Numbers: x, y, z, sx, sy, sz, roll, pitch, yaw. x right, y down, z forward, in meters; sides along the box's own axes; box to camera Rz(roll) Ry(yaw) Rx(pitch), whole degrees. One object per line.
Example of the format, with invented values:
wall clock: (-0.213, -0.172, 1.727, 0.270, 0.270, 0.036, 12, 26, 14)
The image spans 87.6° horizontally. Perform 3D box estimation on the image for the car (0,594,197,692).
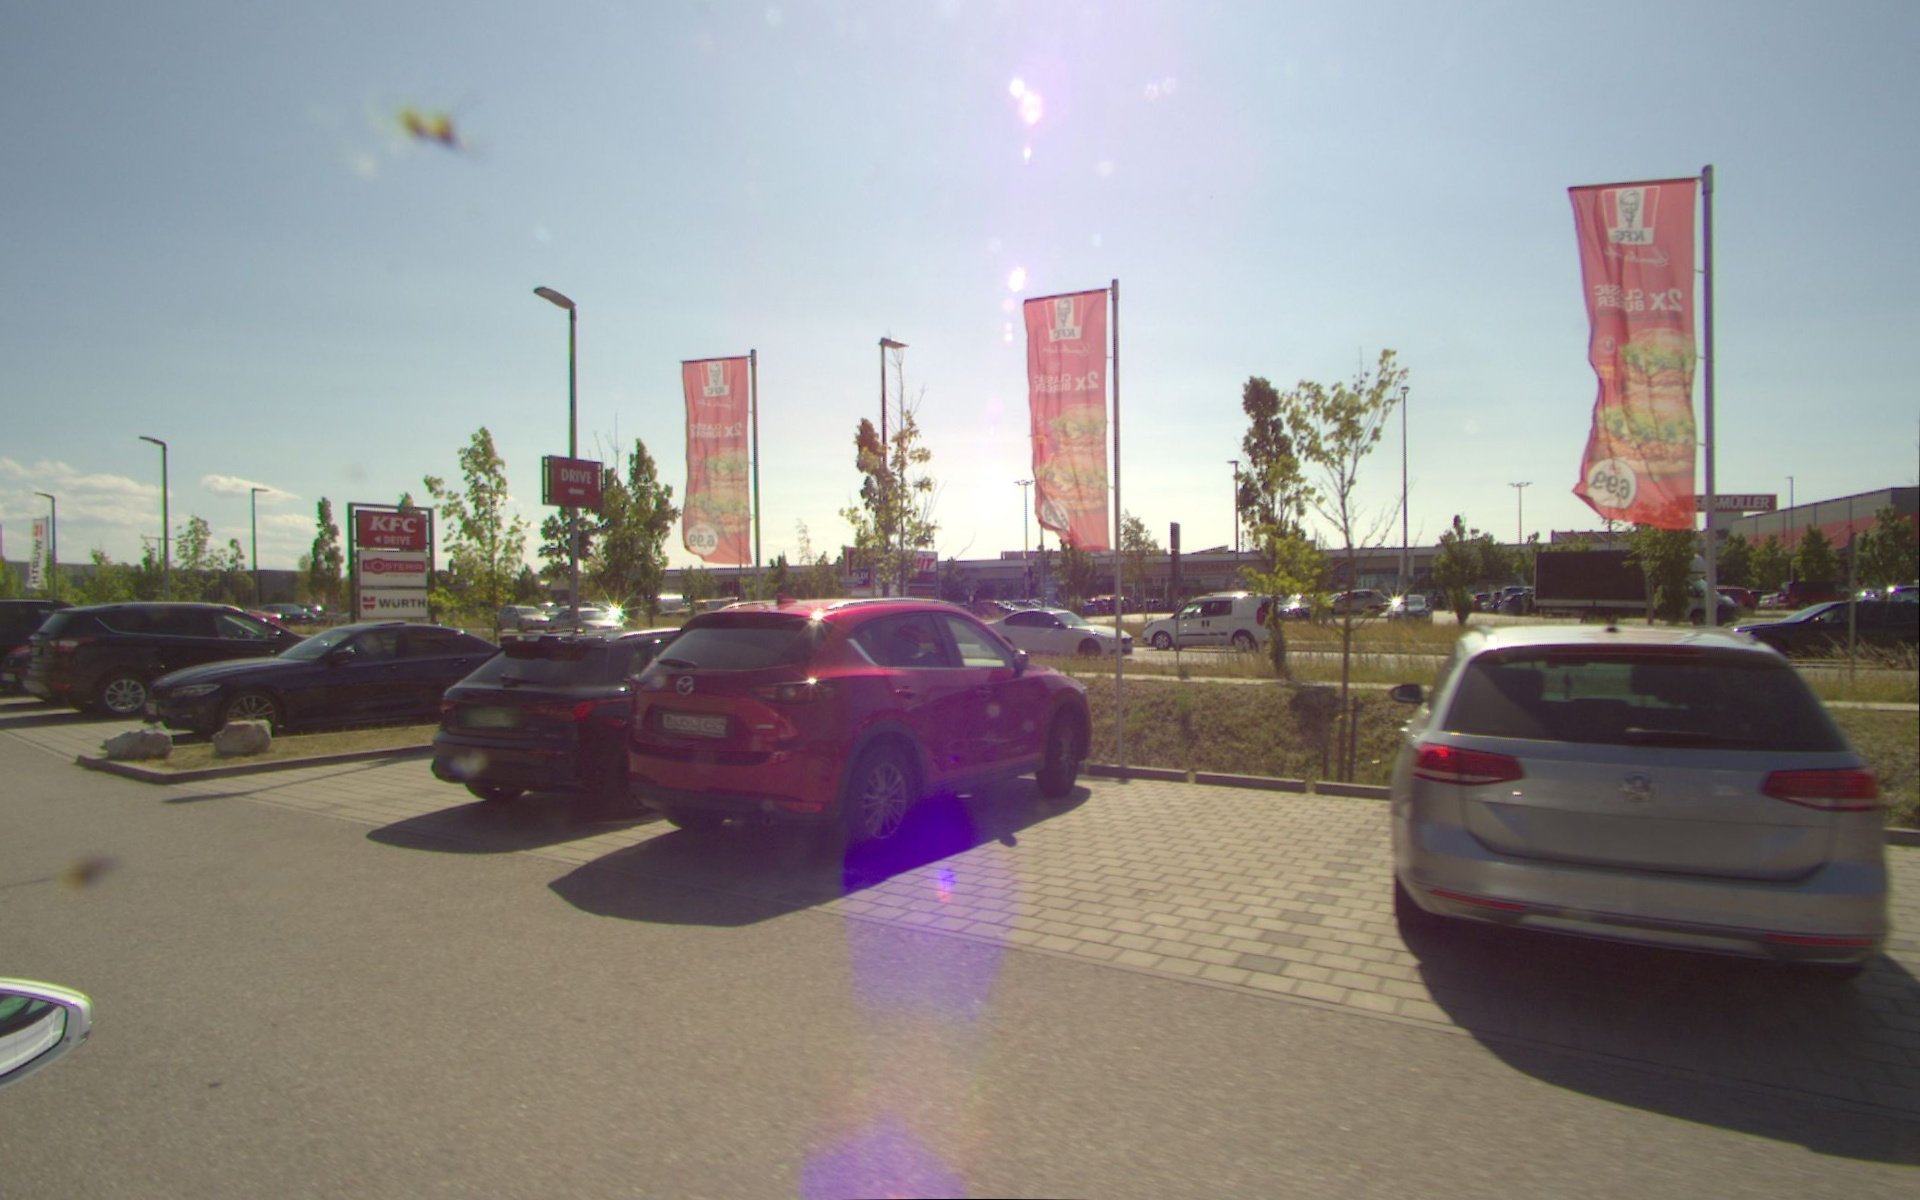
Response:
car: (-17.752, 0.804, 19.267, 1.870, 1.783, 4.563, 0, -1, 35)

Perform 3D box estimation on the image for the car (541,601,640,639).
car: (-16.184, 0.827, 43.769, 4.598, 1.547, 1.986, 0, 0, 38)

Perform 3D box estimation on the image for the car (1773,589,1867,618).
car: (57.797, 0.221, 67.358, 4.325, 1.880, 1.952, 0, 0, 18)

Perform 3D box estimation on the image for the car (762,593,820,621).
car: (-12.995, 0.537, 77.170, 1.977, 2.040, 4.057, 1, 0, 41)

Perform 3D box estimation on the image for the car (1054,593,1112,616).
car: (10.374, 0.360, 84.387, 4.491, 1.880, 1.952, 0, 0, 18)

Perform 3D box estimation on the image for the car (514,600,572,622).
car: (-39.848, 1.037, 95.768, 1.968, 2.040, 5.057, 1, 0, 27)

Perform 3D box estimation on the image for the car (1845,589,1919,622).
car: (55.480, 0.321, 59.099, 4.325, 1.880, 2.045, 0, 0, 18)

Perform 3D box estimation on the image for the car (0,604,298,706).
car: (-14.806, 0.927, 18.344, 1.869, 1.630, 4.060, 1, -1, 33)

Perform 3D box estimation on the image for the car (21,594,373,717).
car: (-12.297, 0.829, 16.371, 1.873, 1.725, 4.299, 0, -1, 40)

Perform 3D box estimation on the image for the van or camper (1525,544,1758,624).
van or camper: (29.105, -0.631, 43.178, 2.391, 3.143, 7.990, 0, 0, -38)

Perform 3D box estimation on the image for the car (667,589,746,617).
car: (-21.072, 0.261, 83.503, 2.775, 2.267, 6.281, 1, 0, 31)

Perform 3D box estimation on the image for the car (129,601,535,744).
car: (-8.479, 0.887, 13.901, 1.871, 1.659, 4.422, 0, -1, 37)

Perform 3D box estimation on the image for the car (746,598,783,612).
car: (-19.981, 0.522, 102.491, 3.422, 1.418, 1.429, 0, 0, 18)

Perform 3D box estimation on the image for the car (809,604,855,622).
car: (-12.238, 1.224, 95.518, 3.935, 1.639, 1.993, 0, 0, 26)

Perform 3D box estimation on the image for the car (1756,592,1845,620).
car: (59.269, 0.423, 70.703, 4.325, 1.880, 1.952, 0, 0, 18)

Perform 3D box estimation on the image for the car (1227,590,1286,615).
car: (22.964, 0.163, 77.651, 4.325, 1.880, 1.952, 0, 0, 18)

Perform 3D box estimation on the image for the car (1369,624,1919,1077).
car: (3.412, 0.856, 5.600, 1.713, 1.431, 4.585, 0, -1, 27)

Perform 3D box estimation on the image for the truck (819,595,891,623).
truck: (-7.497, 0.637, 72.109, 1.974, 1.888, 5.396, 1, 0, 37)

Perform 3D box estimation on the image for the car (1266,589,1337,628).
car: (17.371, 0.430, 50.801, 1.933, 1.880, 4.369, 1, 0, 41)

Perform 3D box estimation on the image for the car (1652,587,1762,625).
car: (38.883, 0.294, 52.256, 4.191, 1.880, 1.867, 0, 0, 18)

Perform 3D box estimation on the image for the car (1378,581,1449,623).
car: (21.579, 0.099, 47.594, 1.933, 1.880, 4.369, 1, 0, 41)

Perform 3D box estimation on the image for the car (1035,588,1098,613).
car: (8.187, 0.047, 76.726, 4.491, 1.880, 1.952, 0, 0, 18)

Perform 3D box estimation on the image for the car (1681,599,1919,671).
car: (21.215, 0.828, 25.315, 4.739, 1.646, 1.989, 0, 0, 34)

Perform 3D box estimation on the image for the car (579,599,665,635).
car: (-16.697, 0.797, 49.320, 4.546, 1.686, 1.865, 0, 0, 39)

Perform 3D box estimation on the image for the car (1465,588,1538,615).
car: (38.881, 0.111, 71.987, 4.325, 1.880, 1.952, 0, 0, 18)

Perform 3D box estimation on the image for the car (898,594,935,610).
car: (-4.317, 0.193, 100.500, 3.410, 1.572, 1.665, 0, 0, 13)

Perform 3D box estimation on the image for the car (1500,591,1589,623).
car: (35.796, 0.398, 61.459, 4.325, 1.880, 1.952, 0, 0, 18)

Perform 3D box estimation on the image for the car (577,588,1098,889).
car: (-0.608, 0.809, 7.830, 1.921, 1.659, 4.213, 0, -1, 30)

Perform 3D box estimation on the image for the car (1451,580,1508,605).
car: (42.620, -0.596, 82.226, 3.930, 2.040, 1.995, 0, 0, 21)

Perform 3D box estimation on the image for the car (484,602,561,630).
car: (-24.578, 0.865, 56.229, 4.596, 1.524, 1.987, 0, 0, 37)

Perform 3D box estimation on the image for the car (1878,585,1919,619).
car: (54.374, 0.118, 55.738, 4.325, 1.880, 1.952, 0, 0, 18)

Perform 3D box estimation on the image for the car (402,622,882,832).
car: (-2.559, 0.926, 9.154, 1.746, 1.428, 4.191, 0, -1, 28)

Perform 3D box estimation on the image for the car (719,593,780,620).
car: (-16.823, 0.527, 80.178, 1.968, 2.040, 5.159, 1, 0, 27)

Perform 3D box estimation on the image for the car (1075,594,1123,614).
car: (13.388, 0.340, 96.608, 4.325, 1.880, 1.952, 0, 0, 18)

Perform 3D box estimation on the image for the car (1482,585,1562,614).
car: (37.279, -0.053, 66.555, 4.325, 1.880, 1.952, 0, 0, 18)

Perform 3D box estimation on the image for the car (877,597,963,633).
car: (-2.155, 0.798, 54.183, 4.357, 1.870, 1.983, 0, 0, -40)

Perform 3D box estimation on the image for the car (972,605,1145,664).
car: (2.816, 0.936, 28.875, 4.588, 1.547, 1.990, 0, 0, 31)

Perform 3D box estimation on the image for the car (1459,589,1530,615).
car: (39.624, 0.124, 74.365, 4.325, 1.880, 1.952, 0, 0, 18)

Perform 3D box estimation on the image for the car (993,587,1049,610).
car: (5.583, -0.153, 91.877, 4.840, 2.040, 2.080, 0, 0, 14)

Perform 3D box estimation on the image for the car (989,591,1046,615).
car: (5.128, 0.254, 89.251, 4.840, 2.040, 2.080, 0, 0, 14)

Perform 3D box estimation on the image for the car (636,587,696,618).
car: (-25.060, 0.215, 85.517, 1.968, 2.488, 5.057, 1, 0, 27)

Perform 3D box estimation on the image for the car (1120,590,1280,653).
car: (7.927, 0.662, 33.215, 4.820, 1.980, 1.870, 0, 0, 30)

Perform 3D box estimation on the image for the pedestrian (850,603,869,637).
pedestrian: (-4.636, 0.924, 46.270, 0.660, 1.577, 0.620, 1, 1, 44)

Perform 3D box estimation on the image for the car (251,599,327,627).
car: (-44.753, 0.834, 66.768, 4.679, 1.756, 1.994, 0, 0, 24)

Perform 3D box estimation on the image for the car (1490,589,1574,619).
car: (36.672, 0.232, 64.308, 4.325, 1.880, 1.952, 0, 0, 18)

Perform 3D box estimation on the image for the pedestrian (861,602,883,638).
pedestrian: (-4.008, 0.889, 45.634, 0.748, 1.621, 0.686, 1, 1, 44)
